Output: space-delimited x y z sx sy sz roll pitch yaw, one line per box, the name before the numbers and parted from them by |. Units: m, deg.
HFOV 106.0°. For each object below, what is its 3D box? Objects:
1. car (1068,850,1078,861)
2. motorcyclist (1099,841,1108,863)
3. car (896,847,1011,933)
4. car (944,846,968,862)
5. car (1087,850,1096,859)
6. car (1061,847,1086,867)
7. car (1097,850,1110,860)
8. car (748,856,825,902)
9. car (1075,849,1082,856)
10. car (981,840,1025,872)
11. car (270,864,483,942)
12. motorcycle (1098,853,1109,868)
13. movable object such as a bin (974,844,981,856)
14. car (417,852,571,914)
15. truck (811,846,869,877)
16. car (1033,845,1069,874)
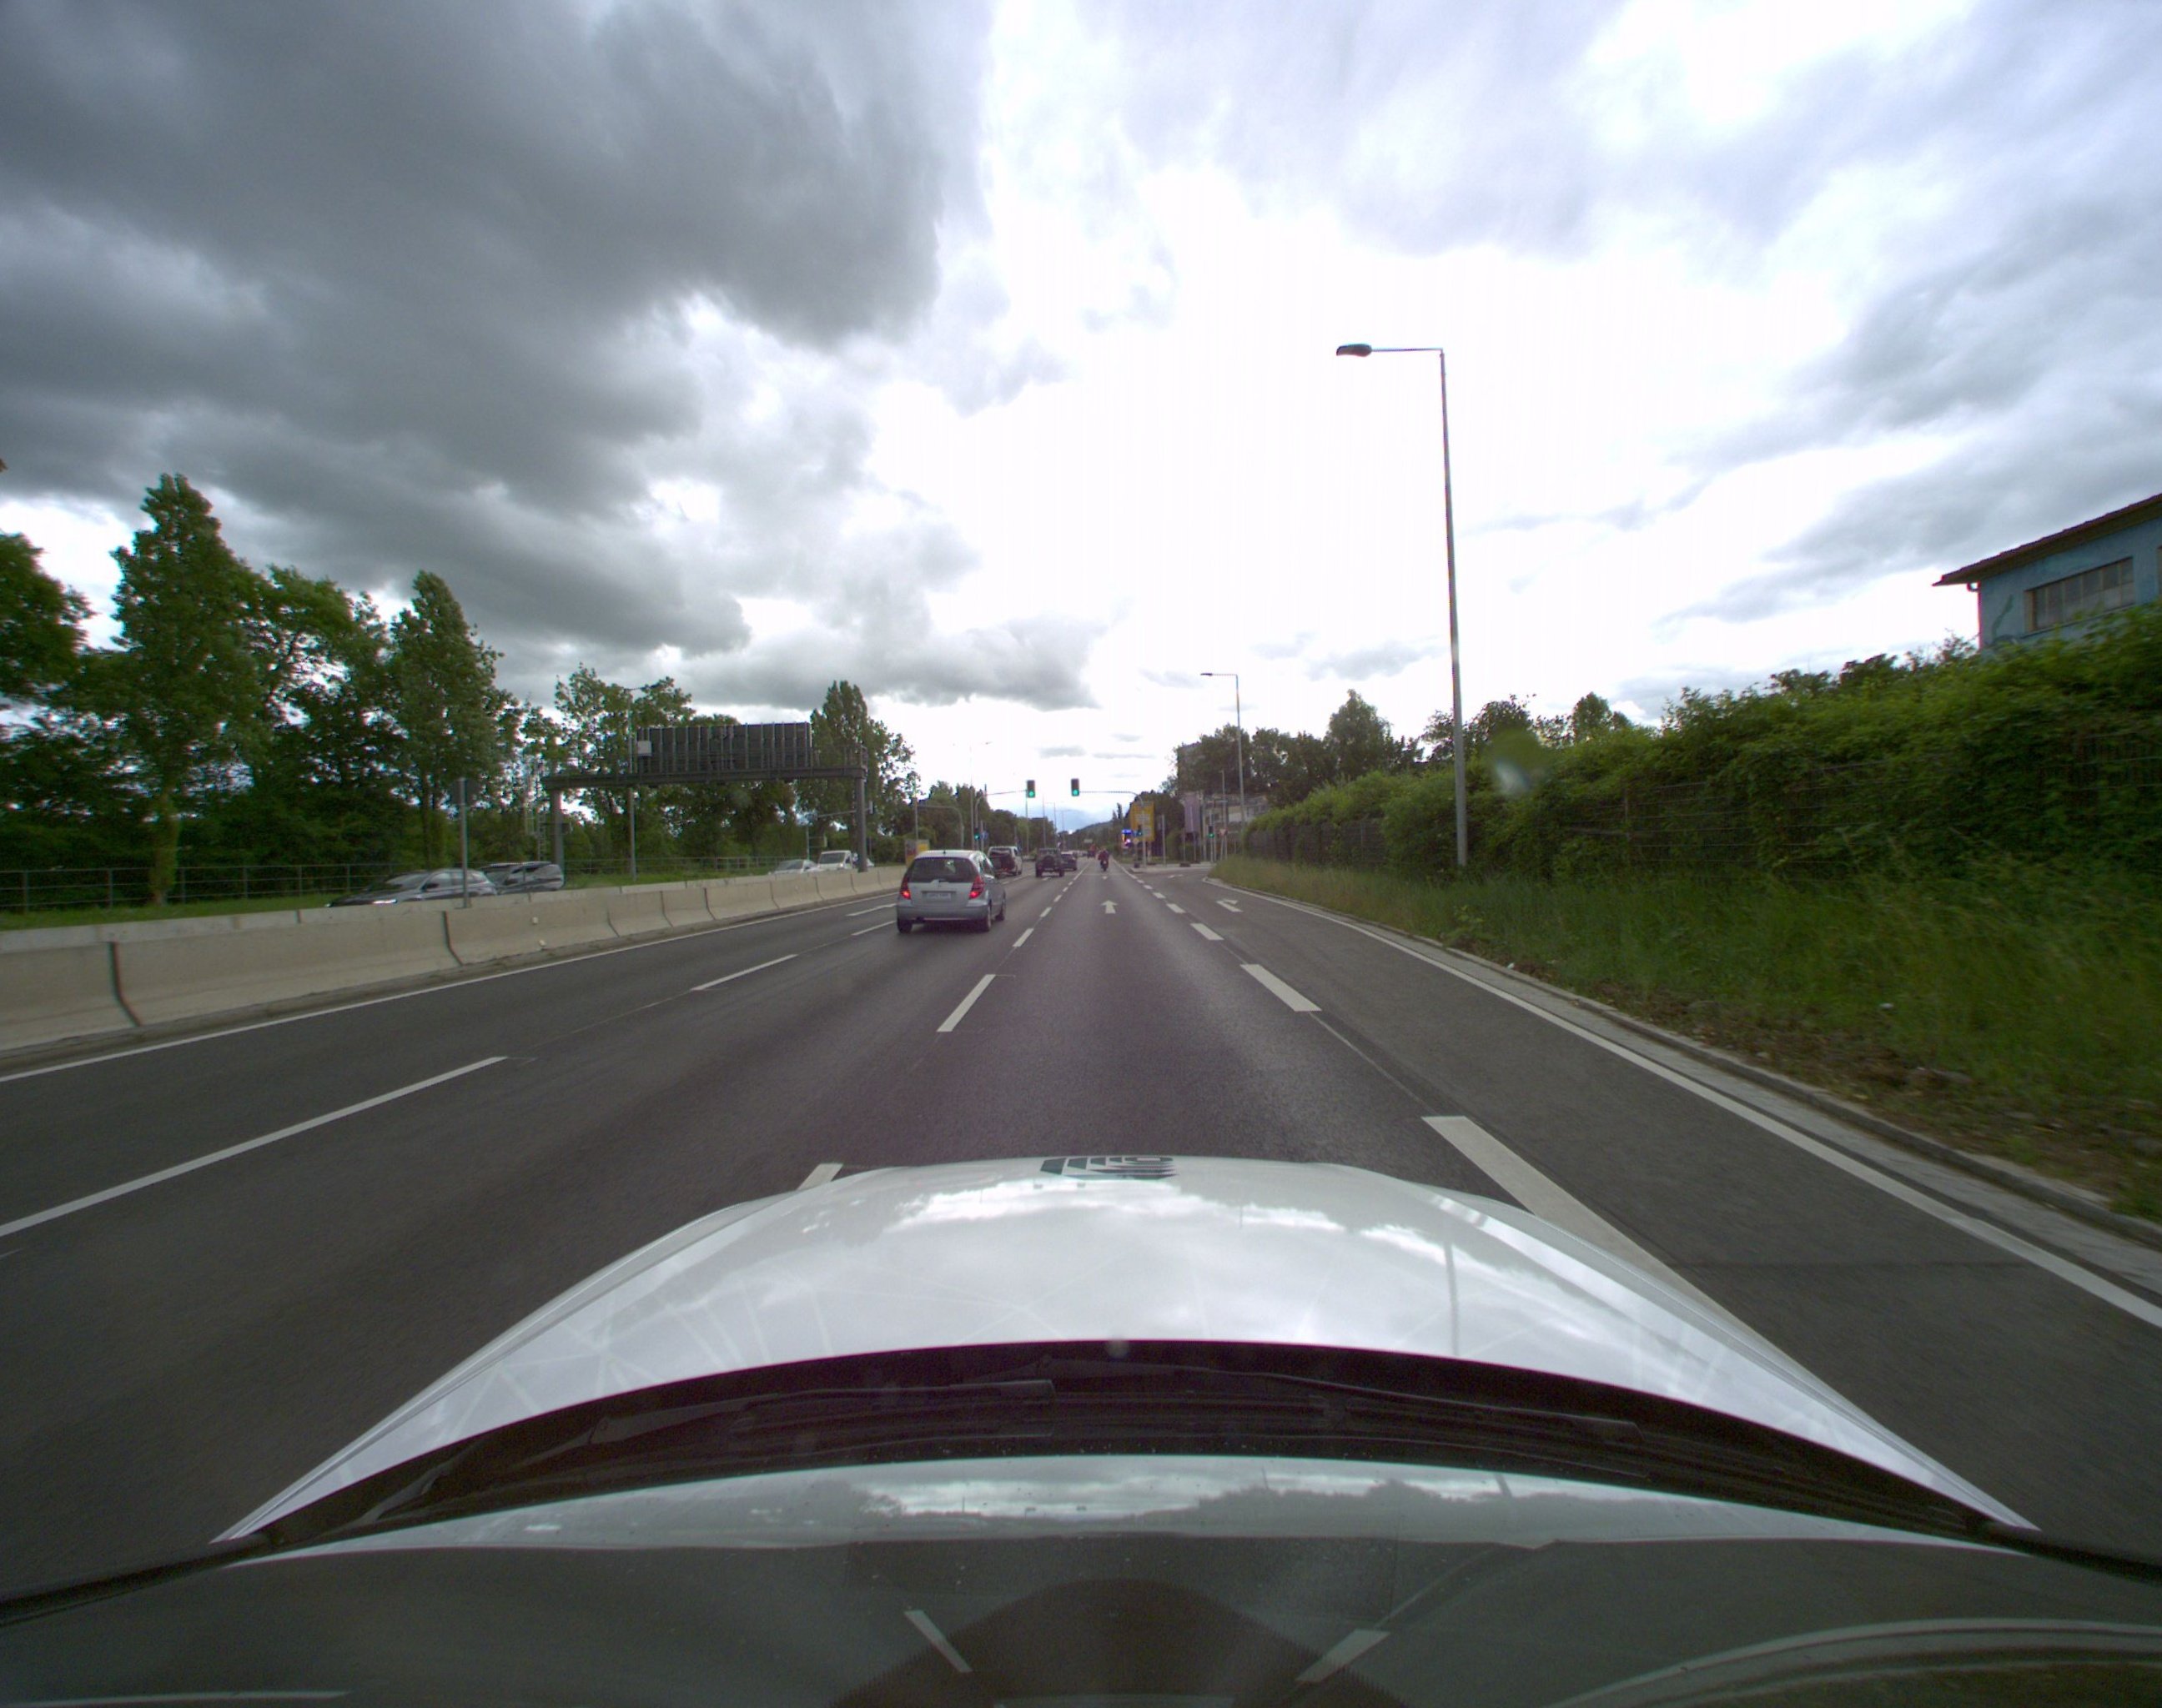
car | -1.656 0.295 165.958 1.986 2.013 4.002 0 1 1
motorcyclist | 1.701 -0.156 61.494 0.682 1.610 0.846 0 1 3
car | -2.504 0.652 16.915 1.704 1.530 4.001 0 1 1
car | -14.370 -0.036 93.825 1.986 1.684 4.413 0 1 1
car | 2.495 0.147 190.654 1.986 2.013 4.002 0 1 1
car | -0.578 0.184 63.839 1.833 1.464 4.001 0 1 1
car | 3.543 0.116 128.192 1.987 1.552 4.000 0 1 0
car | -14.450 1.167 40.249 1.986 2.013 4.683 0 1 1
car | -0.704 -0.348 235.609 1.986 2.013 4.002 0 1 2
car | -4.896 0.100 51.833 2.207 1.925 5.004 0 1 1
car | -18.024 1.174 21.155 1.871 1.682 4.127 0 1 1
motorcycle | 1.708 0.496 61.561 0.703 1.040 2.029 0 1 3
movable object such as a bin | -9.418 -0.387 73.930 0.539 1.059 0.741 0 1 1
car | -21.308 0.963 29.906 1.986 2.013 4.938 0 1 1
truck | -17.084 0.486 58.142 2.197 2.013 6.302 0 1 0
car | -1.804 0.285 50.000 1.901 1.684 4.002 0 1 1
